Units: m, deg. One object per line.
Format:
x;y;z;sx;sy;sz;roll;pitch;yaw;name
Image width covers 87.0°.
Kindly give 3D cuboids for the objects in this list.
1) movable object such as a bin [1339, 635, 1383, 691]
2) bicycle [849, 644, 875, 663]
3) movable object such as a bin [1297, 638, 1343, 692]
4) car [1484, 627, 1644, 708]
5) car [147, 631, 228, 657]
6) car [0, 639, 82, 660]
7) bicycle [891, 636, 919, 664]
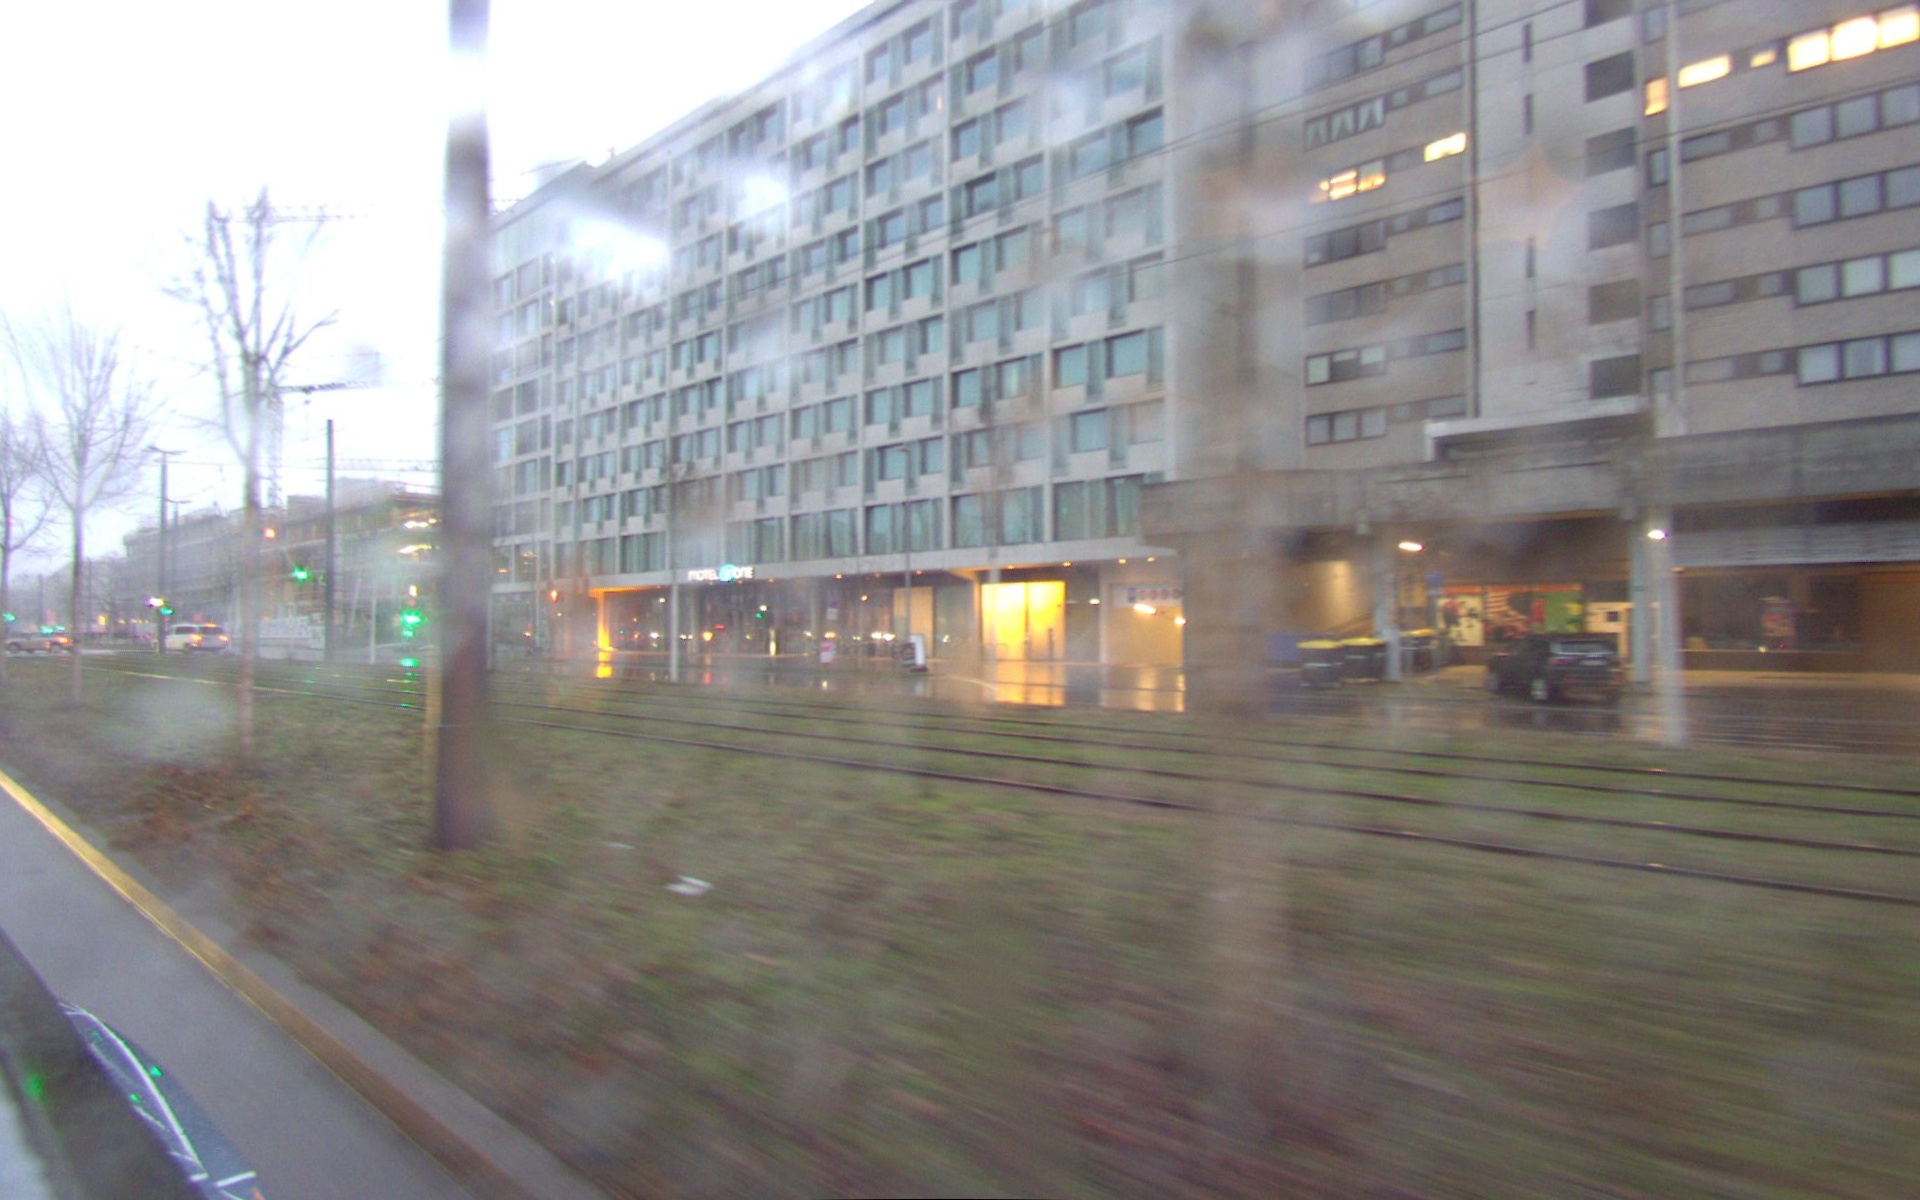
11.536;1.792;29.079;1.008;1.512;1.041;-1;0;30;movable object such as a bin
-4.924;2.690;50.763;0.465;0.860;1.332;-1;0;39;bicycle
10.181;1.823;28.630;1.027;1.437;1.063;-1;0;30;movable object such as a bin
14.804;1.603;25.107;1.962;1.706;4.131;-1;0;9;car
-50.247;2.852;65.820;5.012;1.682;2.071;-1;-2;24;car
-60.238;3.212;66.209;3.942;1.317;1.818;0;-2;-2;car
-2.675;2.433;49.416;0.465;1.247;1.520;-1;0;39;bicycle
